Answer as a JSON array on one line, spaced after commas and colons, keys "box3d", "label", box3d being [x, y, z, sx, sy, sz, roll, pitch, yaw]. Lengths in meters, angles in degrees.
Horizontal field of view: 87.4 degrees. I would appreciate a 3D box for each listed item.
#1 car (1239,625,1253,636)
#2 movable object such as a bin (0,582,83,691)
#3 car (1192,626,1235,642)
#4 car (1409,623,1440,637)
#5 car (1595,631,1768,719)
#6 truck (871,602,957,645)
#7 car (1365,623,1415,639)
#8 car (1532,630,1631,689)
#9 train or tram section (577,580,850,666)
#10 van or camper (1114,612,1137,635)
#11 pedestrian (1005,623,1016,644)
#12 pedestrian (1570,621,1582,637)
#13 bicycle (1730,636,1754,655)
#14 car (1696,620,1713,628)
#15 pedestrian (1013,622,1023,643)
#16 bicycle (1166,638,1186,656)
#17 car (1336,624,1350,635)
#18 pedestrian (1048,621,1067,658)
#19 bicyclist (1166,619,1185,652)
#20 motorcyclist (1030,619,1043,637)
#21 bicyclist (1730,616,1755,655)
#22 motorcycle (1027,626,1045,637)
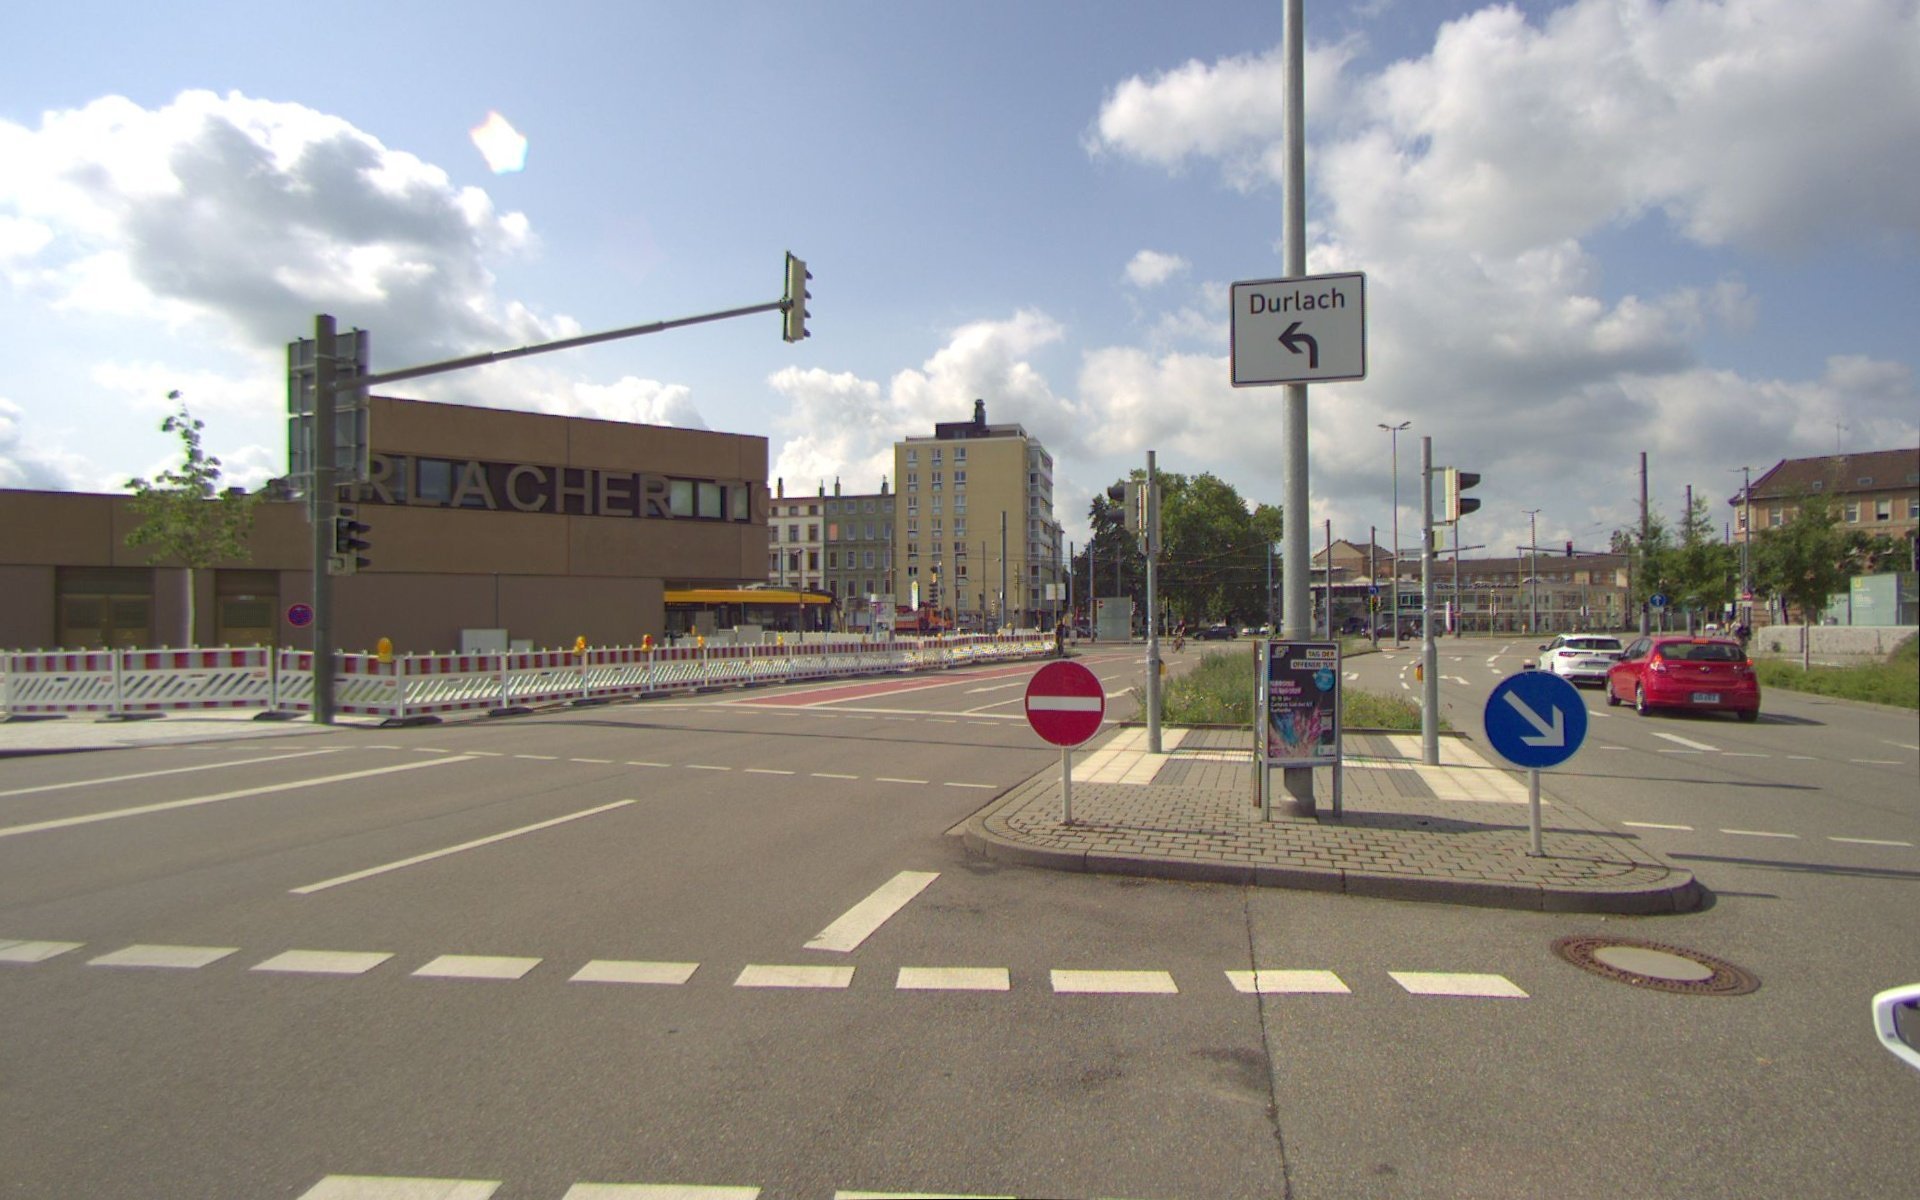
[{"box3d": [44.801, 4.773, 157.176, 1.768, 1.792, 3.999, -1, -2, 22], "label": "car"}, {"box3d": [-34.192, 1.211, 31.568, 9.580, 3.469, 2.996, 0, -2, -32], "label": "movable object such as a bin"}, {"box3d": [24.384, 3.261, 96.816, 3.998, 1.528, 1.815, 0, -1, 12], "label": "car"}, {"box3d": [51.184, 3.326, 110.724, 1.973, 1.550, 3.976, -2, -2, 43], "label": "car"}, {"box3d": [13.586, 1.338, 19.188, 1.787, 1.458, 4.066, 0, -2, 22], "label": "car"}, {"box3d": [-4.295, 2.232, 94.650, 7.779, 3.907, 2.202, -1, -1, 12], "label": "truck"}, {"box3d": [39.906, 2.868, 93.307, 3.998, 1.528, 1.815, -1, -1, 12], "label": "car"}, {"box3d": [17.228, 1.601, 28.021, 1.819, 1.491, 4.331, -1, -2, 25], "label": "car"}, {"box3d": [-11.231, 1.083, 46.974, 12.283, 3.619, 2.644, 1, -2, -34], "label": "train or tram section"}, {"box3d": [21.724, 3.111, 131.923, 2.537, 2.946, 6.103, 0, -1, 5], "label": "van or camper"}, {"box3d": [4.512, 3.044, 90.354, 0.688, 1.884, 0.818, -1, -1, 27], "label": "pedestrian"}, {"box3d": [60.421, 2.818, 98.517, 0.663, 1.556, 0.673, 0, -1, -12], "label": "pedestrian"}, {"box3d": [35.750, 2.093, 45.939, 0.616, 0.821, 1.785, -3, -2, 31], "label": "bicycle"}, {"box3d": [131.389, 4.195, 177.241, 1.974, 1.461, 3.974, -2, -2, 45], "label": "car"}, {"box3d": [5.211, 2.903, 90.035, 0.640, 1.893, 0.780, -1, -1, 28], "label": "pedestrian"}, {"box3d": [12.232, 2.656, 56.896, 0.607, 1.015, 2.015, -1, -2, 28], "label": "bicycle"}, {"box3d": [56.782, 4.409, 148.967, 1.961, 1.572, 4.078, -1, -2, 21], "label": "car"}, {"box3d": [4.482, 1.812, 46.112, 0.724, 1.703, 0.640, -1, -1, 24], "label": "pedestrian"}, {"box3d": [12.235, 2.031, 56.906, 0.798, 1.847, 1.158, -1, -1, 26], "label": "bicyclist"}, {"box3d": [7.971, 2.900, 104.322, 0.875, 1.805, 1.239, -1, -2, 32], "label": "motorcyclist"}, {"box3d": [35.664, 1.621, 45.802, 0.725, 1.724, 0.963, -3, -2, 31], "label": "bicyclist"}, {"box3d": [7.881, 3.277, 104.150, 0.770, 1.130, 2.429, -1, -2, 32], "label": "motorcycle"}]
